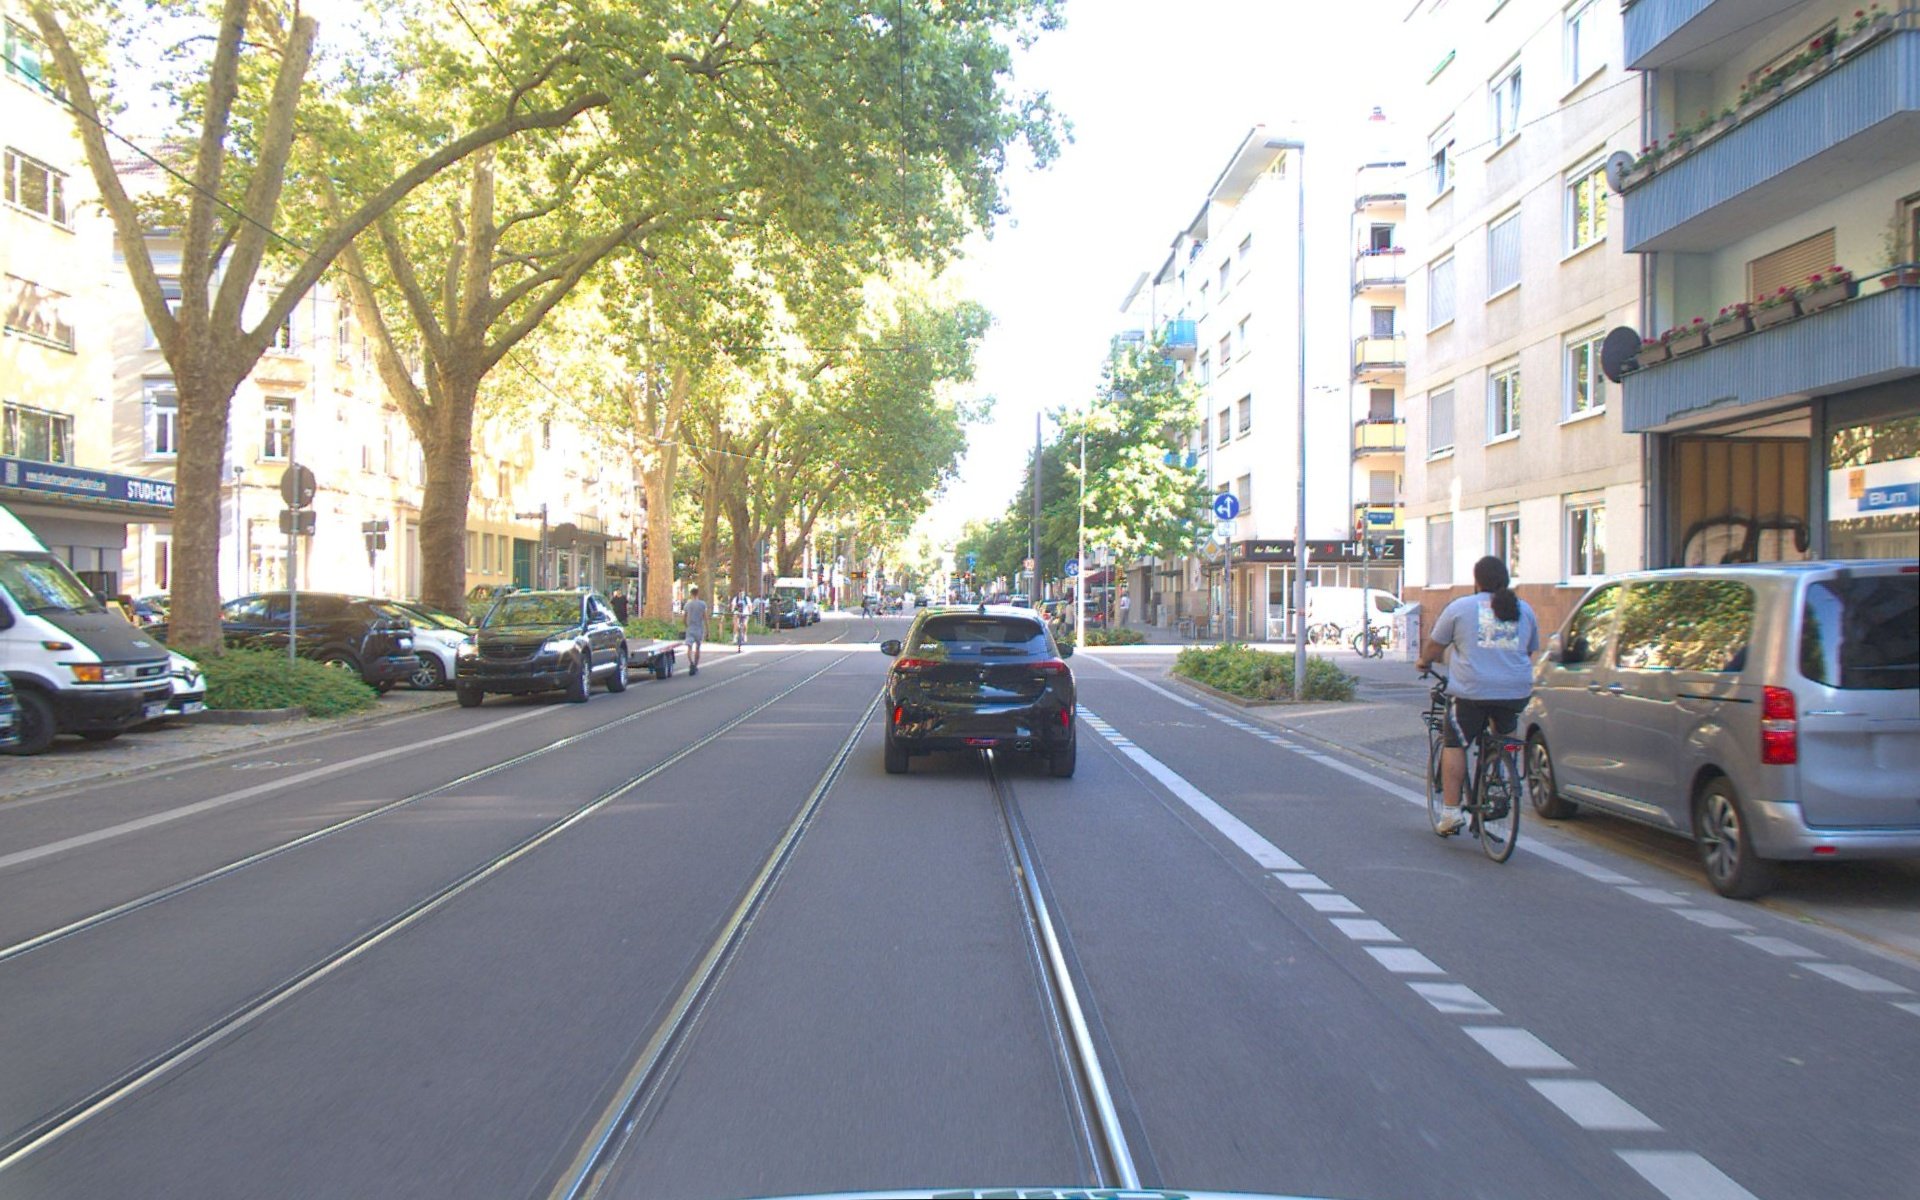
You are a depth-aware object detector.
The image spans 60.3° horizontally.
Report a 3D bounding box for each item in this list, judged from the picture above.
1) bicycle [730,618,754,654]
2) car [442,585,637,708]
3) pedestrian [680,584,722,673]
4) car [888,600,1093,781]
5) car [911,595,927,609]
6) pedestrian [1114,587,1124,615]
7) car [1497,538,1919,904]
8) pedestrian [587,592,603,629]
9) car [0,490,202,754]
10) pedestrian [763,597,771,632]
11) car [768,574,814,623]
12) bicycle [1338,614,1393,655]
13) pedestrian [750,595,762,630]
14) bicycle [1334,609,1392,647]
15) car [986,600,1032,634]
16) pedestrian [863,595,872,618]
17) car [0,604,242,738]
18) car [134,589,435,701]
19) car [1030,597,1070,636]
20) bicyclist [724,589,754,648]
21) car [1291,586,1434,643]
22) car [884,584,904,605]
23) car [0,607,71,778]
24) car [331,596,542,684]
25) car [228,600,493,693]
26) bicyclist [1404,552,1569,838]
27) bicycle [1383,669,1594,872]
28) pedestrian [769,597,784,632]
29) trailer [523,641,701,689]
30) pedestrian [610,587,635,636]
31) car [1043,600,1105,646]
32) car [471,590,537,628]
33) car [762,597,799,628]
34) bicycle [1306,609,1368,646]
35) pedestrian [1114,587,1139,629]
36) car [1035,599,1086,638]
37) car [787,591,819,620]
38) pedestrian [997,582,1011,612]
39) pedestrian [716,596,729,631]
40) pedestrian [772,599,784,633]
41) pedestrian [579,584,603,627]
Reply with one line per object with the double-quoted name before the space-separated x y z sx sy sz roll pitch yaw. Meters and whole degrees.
"bicycle" -6.300 1.029 47.842 0.510 0.979 1.928 0 0 -2
"car" -6.511 0.667 26.138 1.953 1.730 4.484 -2 0 -1
"pedestrian" -5.268 0.563 33.612 0.699 1.765 0.909 -2 0 -15
"car" 0.221 0.747 15.398 1.646 1.447 3.627 2 0 -1
"car" -4.895 0.237 199.224 1.714 1.680 4.000 0 0 1
"pedestrian" 9.745 0.058 101.308 0.616 1.763 0.632 0 0 5
"car" 5.285 0.629 11.136 1.820 1.923 4.925 0 0 1
"pedestrian" -16.738 0.487 75.853 0.540 1.681 0.649 0 0 3
"car" -10.836 0.216 17.275 4.846 2.612 2.081 0 0 -4
"pedestrian" -8.960 0.673 76.769 0.339 1.610 0.508 0 0 -2
"car" -9.399 -0.082 92.579 2.050 2.629 5.995 0 0 -1
"bicycle" 10.587 0.893 43.275 0.787 1.033 1.966 -1 0 -6
"pedestrian" -9.435 0.596 76.504 0.497 1.610 0.526 0 0 -5
"bicycle" 12.403 0.852 50.967 1.734 1.136 0.614 0 0 13
"car" 2.479 0.857 84.828 1.954 1.668 3.997 0 0 -4
"pedestrian" -6.466 0.474 115.558 0.583 1.618 0.892 0 0 -8
"car" -10.842 0.809 19.682 3.777 1.504 1.860 0 0 -2
"car" -10.421 0.676 25.738 3.906 1.676 1.893 0 0 -2
"car" 3.785 0.681 69.963 1.617 1.601 3.084 0 0 1
"bicyclist" -6.390 0.531 47.829 0.768 1.707 0.957 0 0 -3
"car" 13.419 0.476 55.277 4.273 1.863 1.998 0 0 -5
"car" -7.182 -0.596 178.776 1.954 2.250 5.097 0 0 -5
"car" -10.360 0.801 14.640 3.937 1.491 1.872 0 0 0
"car" -9.554 0.709 30.396 3.363 1.557 1.786 0 0 -4
"car" -10.232 0.778 28.421 3.906 1.548 1.770 0 0 -2
"bicyclist" 3.416 0.596 10.799 0.770 1.790 0.914 0 0 -1
"bicycle" 3.387 1.052 10.799 0.687 1.111 1.989 2 -1 -1
"pedestrian" -8.574 0.676 77.415 0.670 1.610 0.557 0 0 -3
"trailer" -6.467 1.202 31.568 2.117 0.643 6.399 0 0 -1
"pedestrian" -13.232 0.435 64.880 0.887 1.901 0.643 0 0 -7
"car" 4.110 0.800 60.187 1.684 1.601 4.081 0 0 -5
"car" -19.222 0.365 69.811 1.647 1.543 4.000 1 0 0
"car" -9.333 0.633 86.246 1.719 1.534 3.997 0 0 -4
"bicycle" 11.851 0.858 52.047 1.797 1.136 0.703 0 0 2
"pedestrian" 7.127 0.333 70.897 0.789 1.779 0.758 0 0 -42
"car" 3.984 0.703 66.138 1.683 1.516 3.680 0 0 -2
"car" -9.851 0.321 103.351 1.955 1.747 3.995 0 0 -6
"pedestrian" 3.182 -0.216 120.538 0.839 2.048 1.069 -4 -1 0
"pedestrian" -11.039 0.624 76.877 0.498 1.610 0.524 0 0 -16
"pedestrian" -8.441 0.744 76.814 0.496 1.610 0.526 0 0 -1
"pedestrian" -14.371 0.202 64.405 0.830 1.661 0.643 0 0 -7
